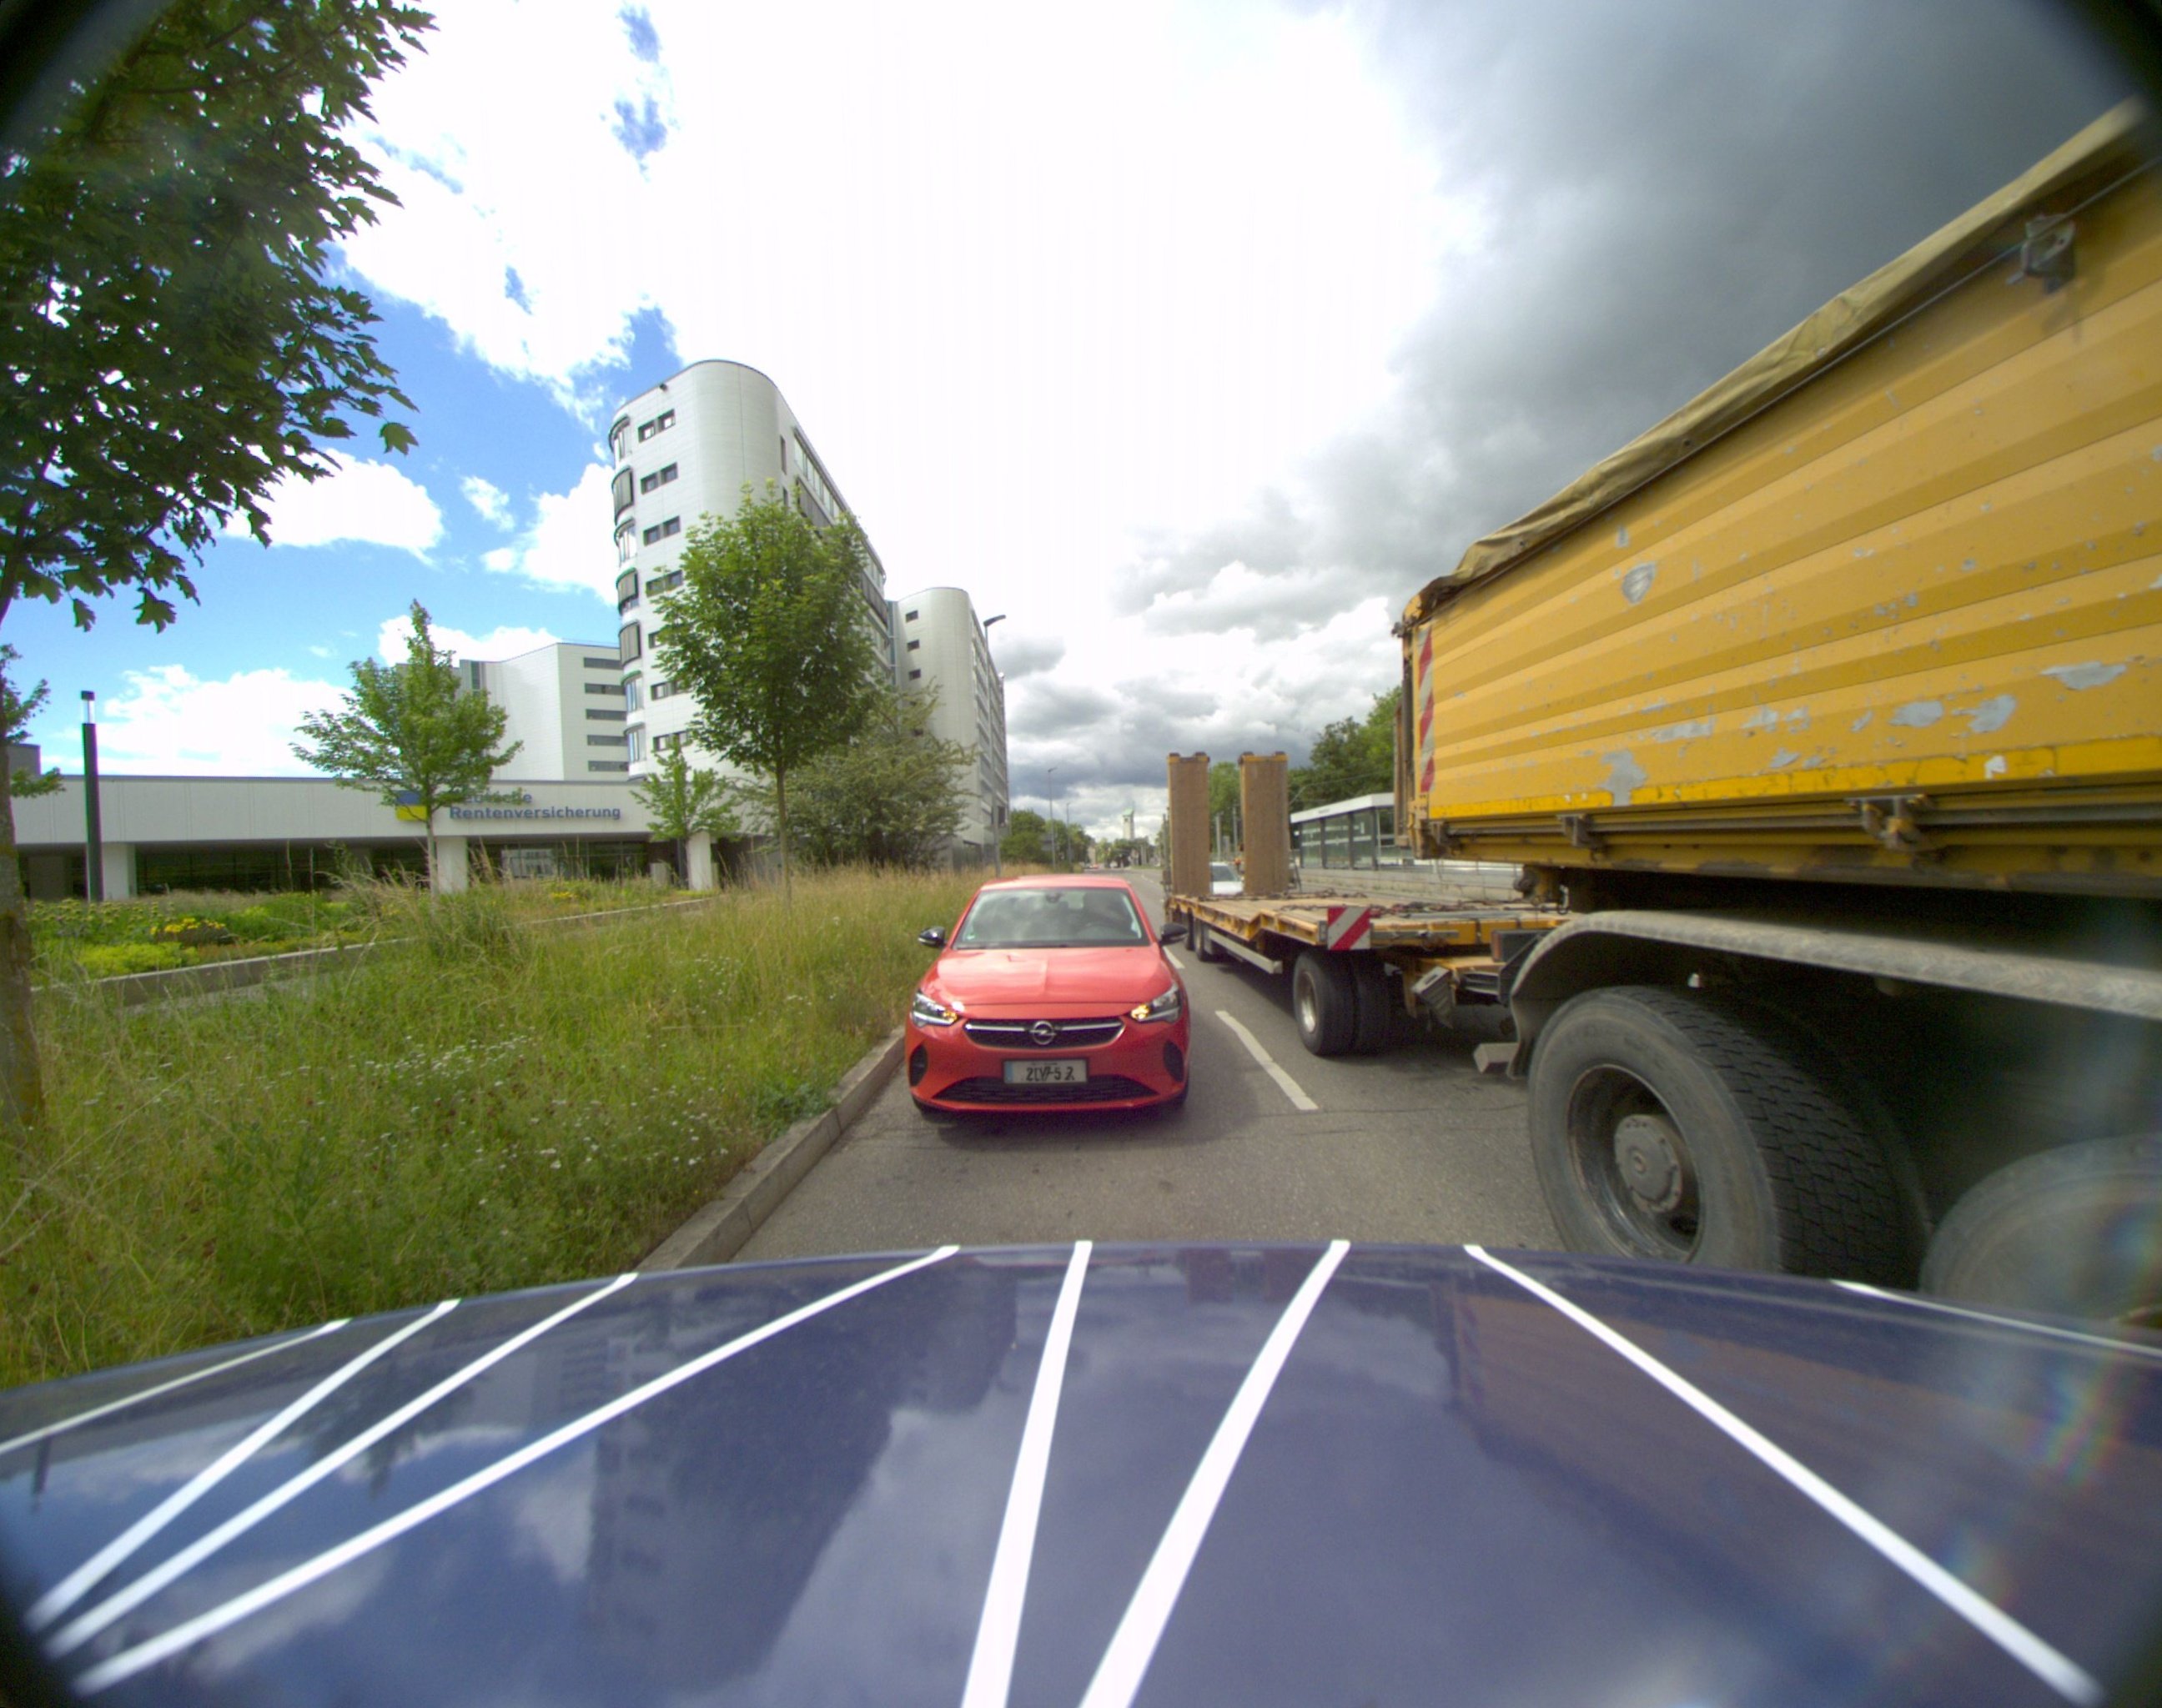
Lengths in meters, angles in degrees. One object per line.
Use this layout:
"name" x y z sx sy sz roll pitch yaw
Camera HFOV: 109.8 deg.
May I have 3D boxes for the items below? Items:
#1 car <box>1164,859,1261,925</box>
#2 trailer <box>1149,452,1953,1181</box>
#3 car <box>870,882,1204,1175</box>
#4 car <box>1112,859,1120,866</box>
"car" 3.175 0.878 19.023 1.784 1.408 3.785 -2 0 1
"trailer" 2.940 -0.169 9.426 3.057 3.676 10.965 -2 0 0
"car" -0.200 0.993 5.856 1.749 1.408 3.676 -1 0 1
"car" 9.123 2.224 198.474 1.998 1.805 4.000 -2 0 1
